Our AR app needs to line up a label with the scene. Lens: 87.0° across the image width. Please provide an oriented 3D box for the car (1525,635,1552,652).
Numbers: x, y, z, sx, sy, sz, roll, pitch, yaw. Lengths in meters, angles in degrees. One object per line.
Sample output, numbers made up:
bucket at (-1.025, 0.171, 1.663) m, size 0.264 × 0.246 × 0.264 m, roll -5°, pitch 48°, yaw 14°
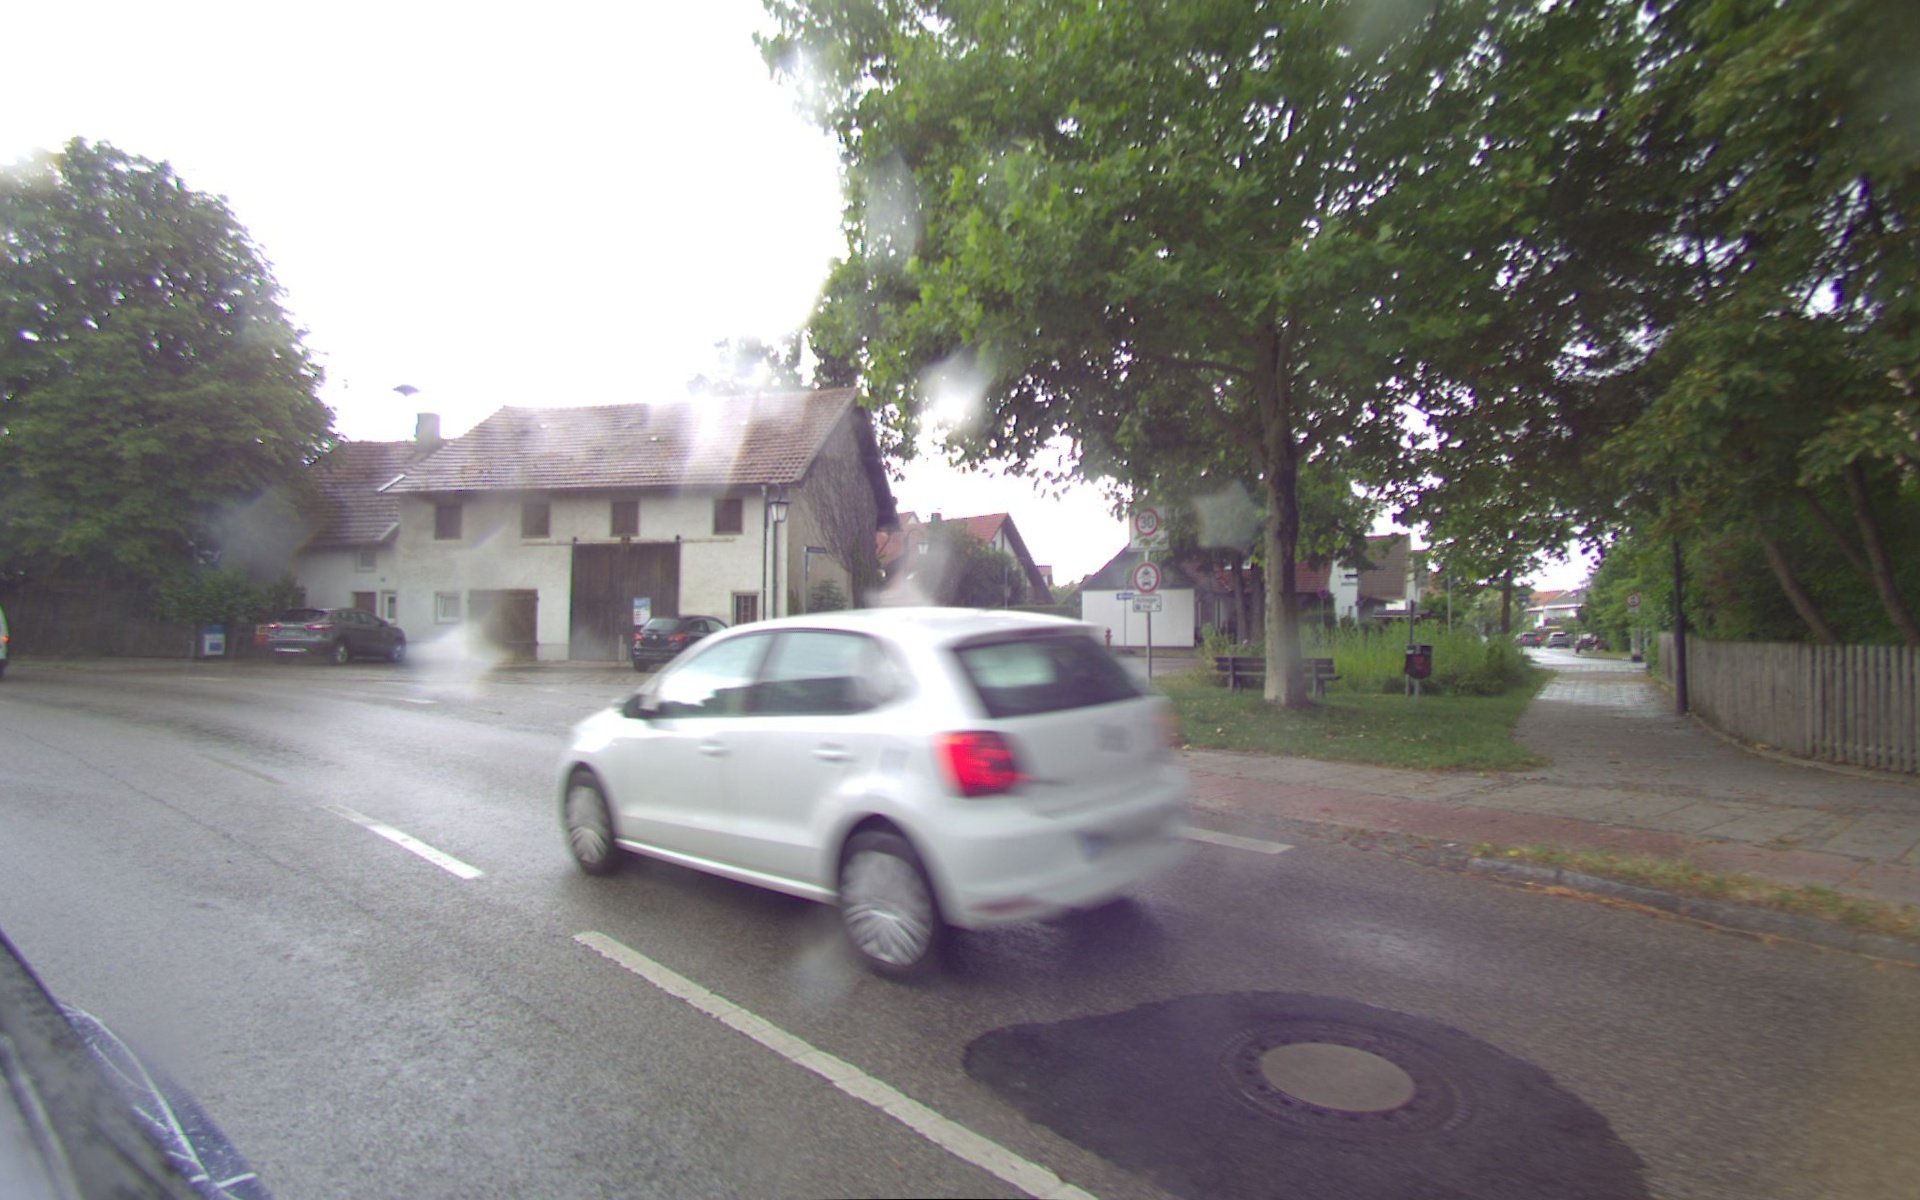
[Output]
car at (55.667, 4.133, 97.498) m, size 1.989 × 1.453 × 3.965 m, roll 0°, pitch 0°, yaw 26°

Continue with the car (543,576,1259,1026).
car at (-0.551, 0.661, 5.147) m, size 3.672 × 1.455 × 1.600 m, roll 0°, pitch -1°, yaw 44°

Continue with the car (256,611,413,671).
car at (-17.541, 1.175, 28.651) m, size 1.792 × 1.560 × 4.281 m, roll 0°, pitch -3°, yaw -1°

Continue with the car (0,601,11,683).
car at (-23.184, 0.937, 22.471) m, size 4.306 × 1.778 × 1.632 m, roll 0°, pitch 0°, yaw 25°

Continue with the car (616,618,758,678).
car at (-7.101, 1.201, 26.774) m, size 1.803 × 1.447 × 4.262 m, roll 0°, pitch -1°, yaw 14°

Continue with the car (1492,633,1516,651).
car at (51.323, 3.930, 95.523) m, size 1.990 × 1.453 × 3.963 m, roll 0°, pitch 0°, yaw 28°

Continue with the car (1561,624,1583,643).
car at (71.138, 3.860, 117.668) m, size 1.991 × 2.029 × 3.961 m, roll 0°, pitch 0°, yaw 29°

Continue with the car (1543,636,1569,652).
car at (59.240, 4.360, 100.685) m, size 1.990 × 1.453 × 3.963 m, roll 0°, pitch 0°, yaw 28°
